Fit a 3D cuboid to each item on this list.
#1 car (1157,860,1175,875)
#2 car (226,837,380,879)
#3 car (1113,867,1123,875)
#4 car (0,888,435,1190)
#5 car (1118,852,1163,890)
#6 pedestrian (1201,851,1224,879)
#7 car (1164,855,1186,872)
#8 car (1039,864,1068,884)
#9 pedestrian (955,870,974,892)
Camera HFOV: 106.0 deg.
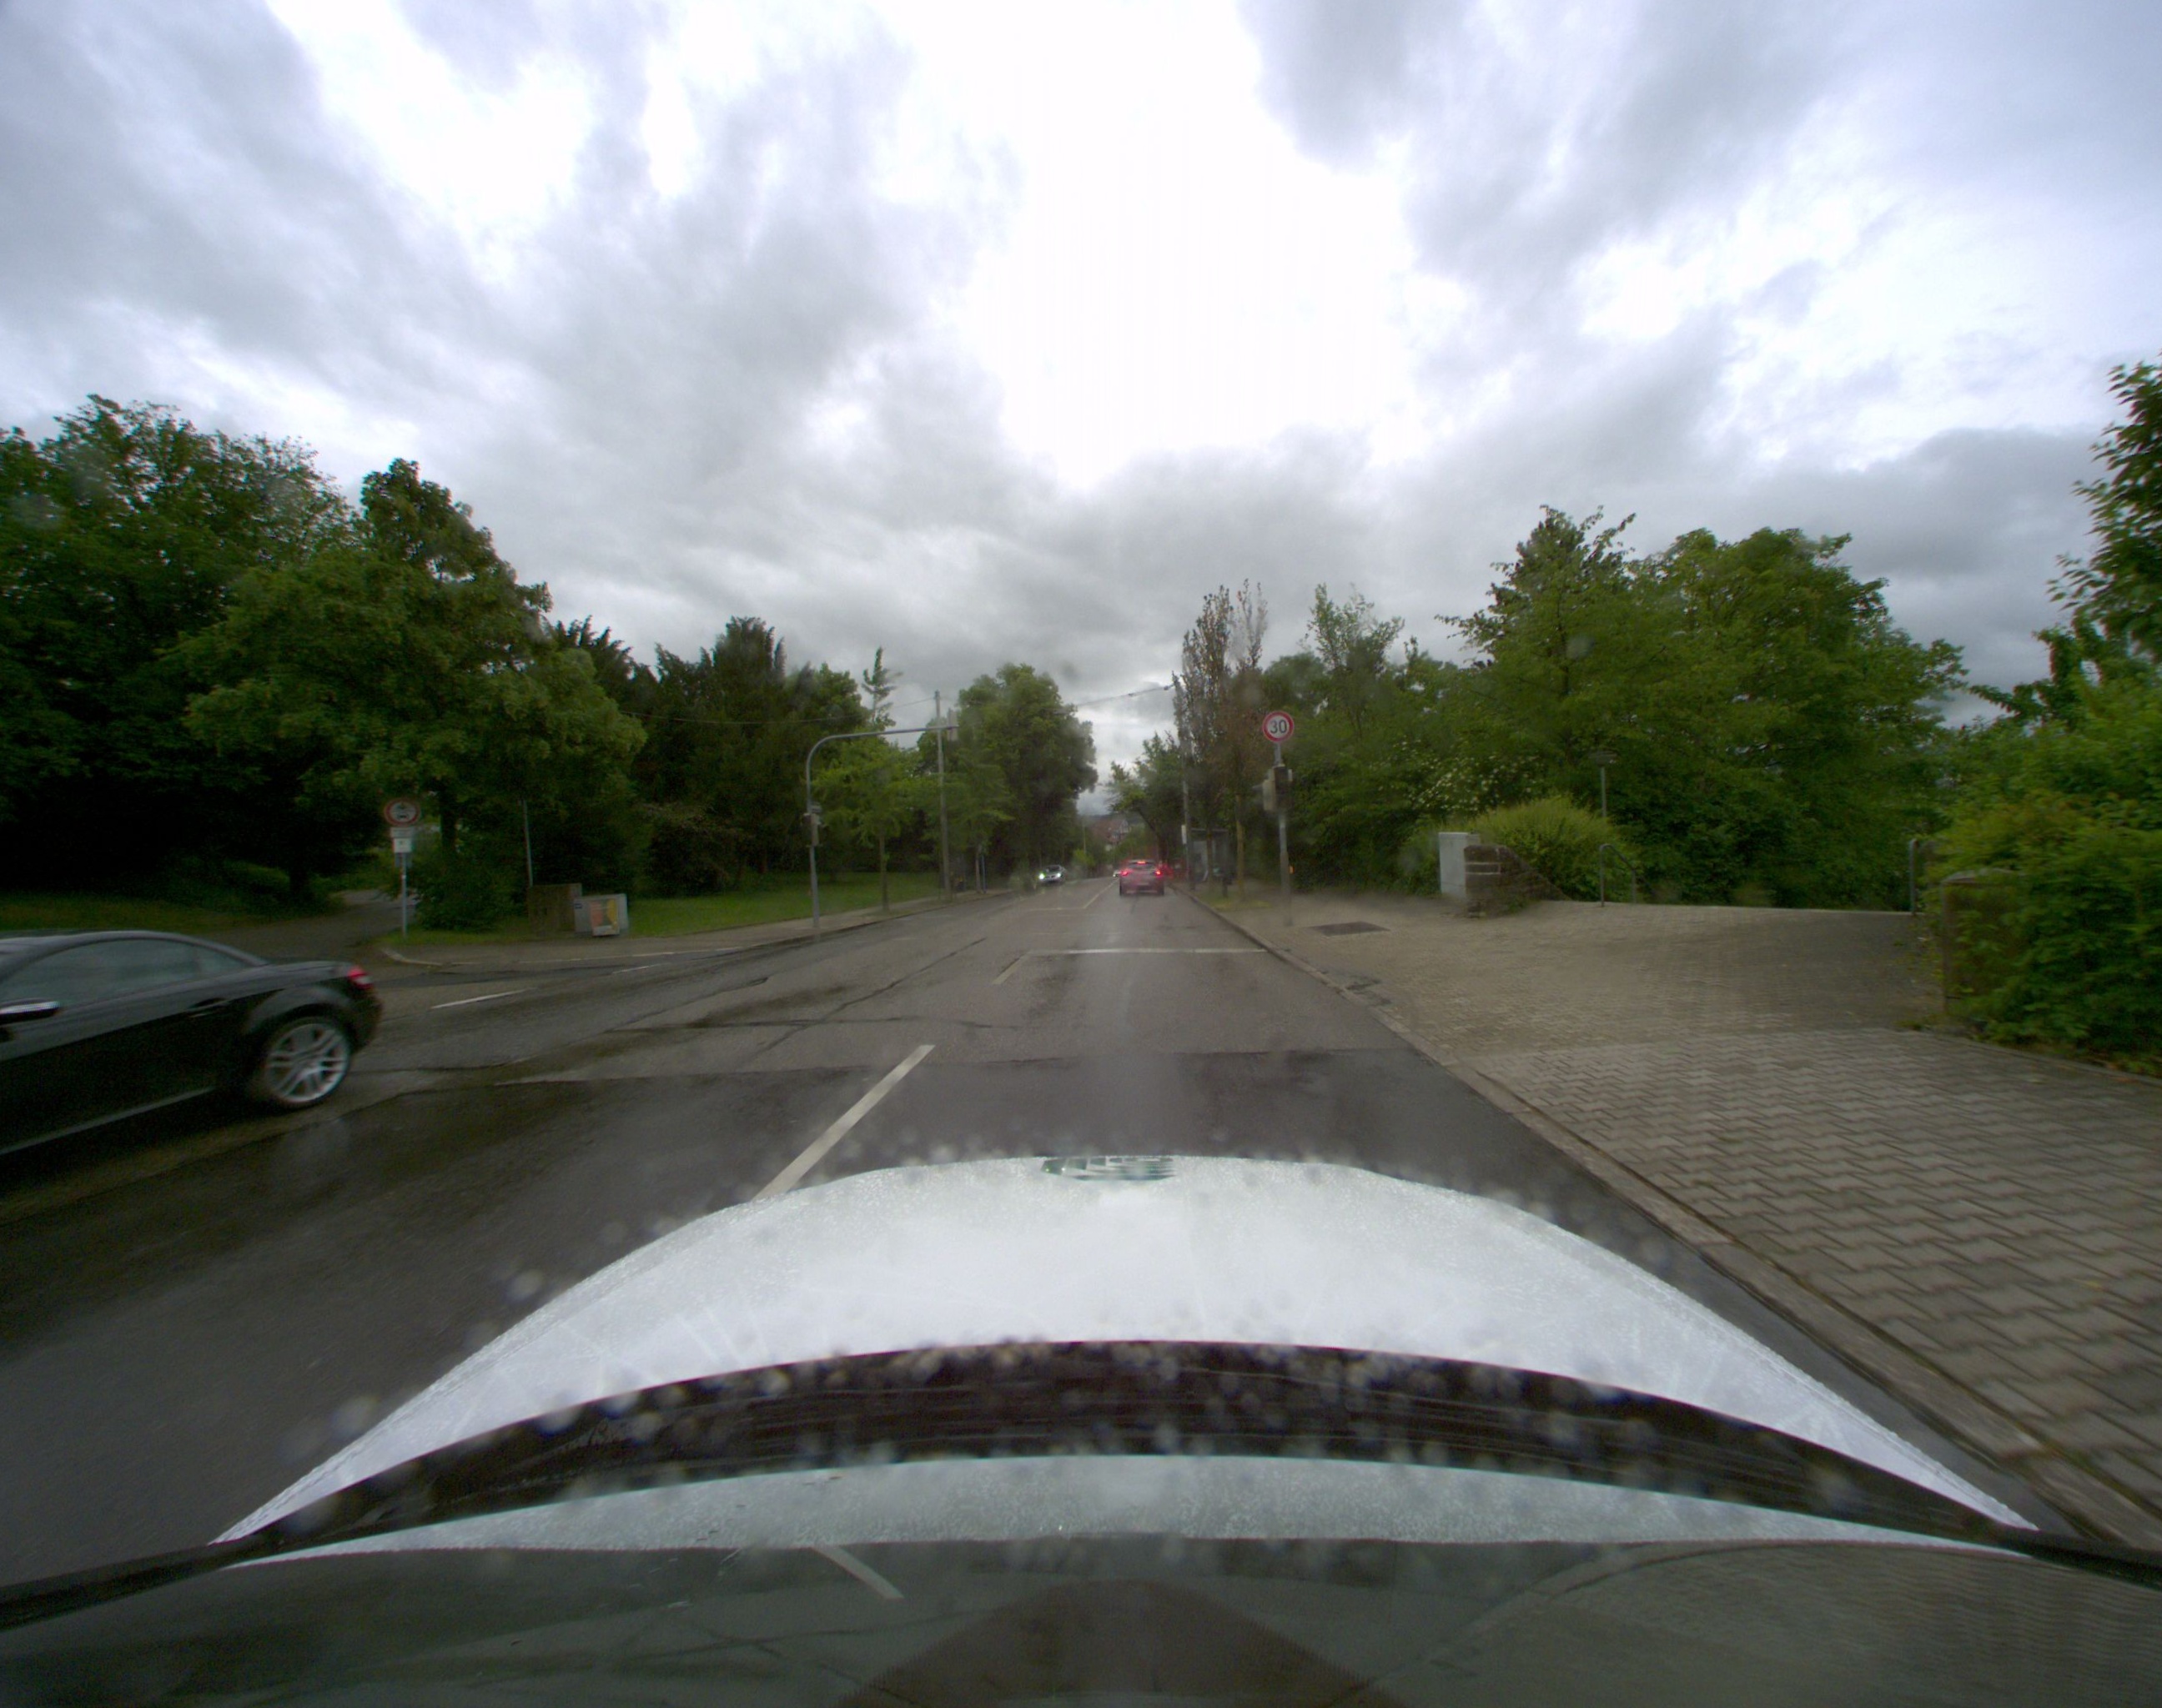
[{"bbox_3d":[9.358,1.449,89.652,1.714,1.464,4.005,-4,-1,4],"label":"car"},{"bbox_3d":[-30.664,0.158,32.251,3.908,1.486,1.923,-2,-1,-19],"label":"car"},{"bbox_3d":[6.857,3.149,149.007,1.714,1.464,4.004,0,0,4],"label":"car"},{"bbox_3d":[-6.029,1.020,4.320,1.653,1.306,4.088,-5,1,4],"label":"car"},{"bbox_3d":[2.495,0.678,34.431,1.747,1.464,4.004,-1,0,4],"label":"car"},{"bbox_3d":[6.725,0.553,41.696,1.067,1.355,0.921,-4,-1,10],"label":"pedestrian"},{"bbox_3d":[8.555,0.856,74.504,1.714,1.464,4.005,-4,-1,4],"label":"car"},{"bbox_3d":[-1.968,1.433,59.565,1.714,1.399,4.004,0,0,4],"label":"car"},{"bbox_3d":[-7.647,1.771,53.423,0.931,1.403,0.921,0,0,11],"label":"pedestrian"}]
